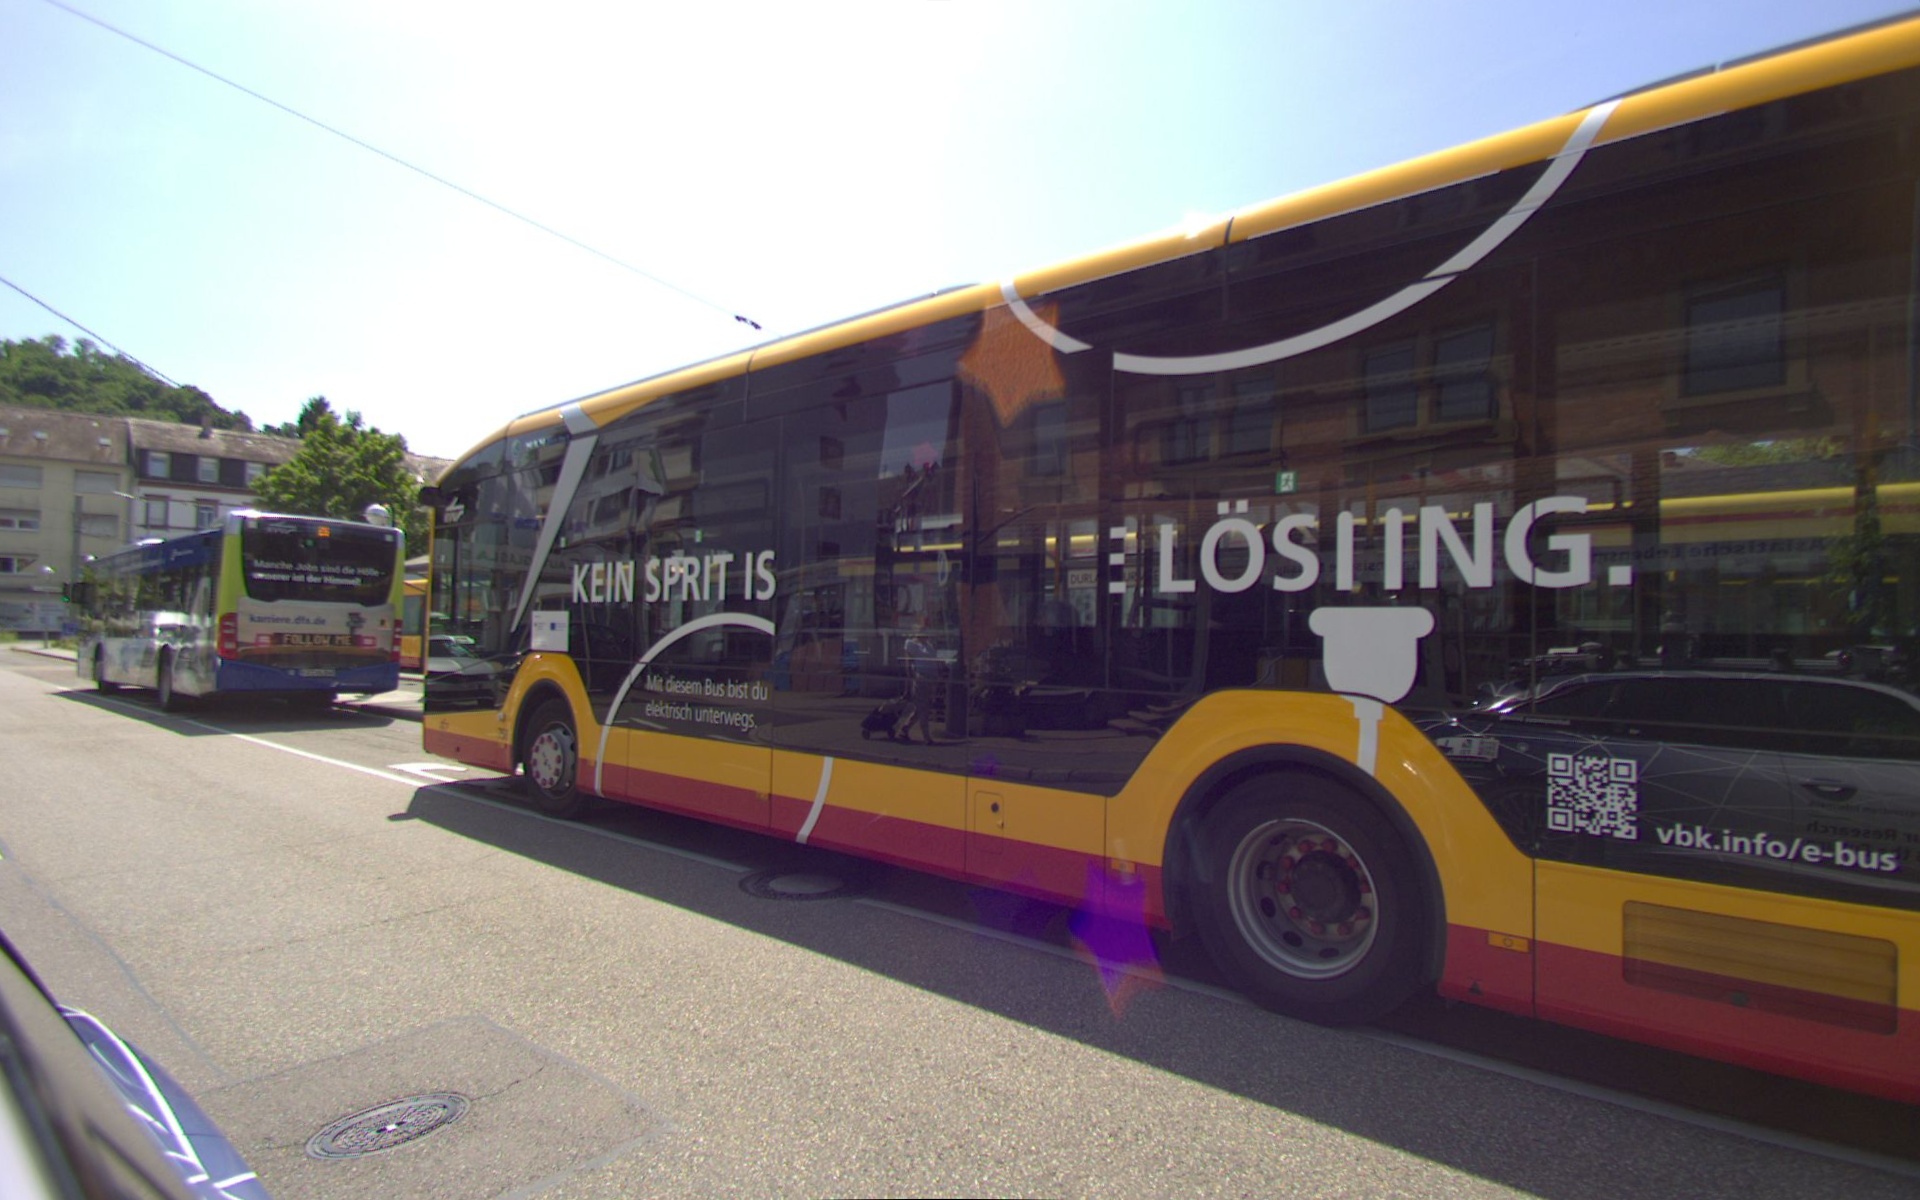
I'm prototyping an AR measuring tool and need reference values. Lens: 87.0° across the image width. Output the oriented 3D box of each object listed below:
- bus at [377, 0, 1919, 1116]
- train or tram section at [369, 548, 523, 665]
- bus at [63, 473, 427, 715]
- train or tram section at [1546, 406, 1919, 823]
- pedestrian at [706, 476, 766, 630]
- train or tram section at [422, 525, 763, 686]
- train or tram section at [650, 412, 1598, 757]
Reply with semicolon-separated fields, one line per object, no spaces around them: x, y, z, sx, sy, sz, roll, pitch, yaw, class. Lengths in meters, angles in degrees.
0.086;-0.392;6.428;12.192;3.272;2.867;0;0;42;bus
-16.733;0.288;32.918;4.415;3.522;2.932;-1;-3;41;train or tram section
-14.256;0.071;19.448;12.031;3.453;2.878;-2;-1;41;bus
12.498;0.080;7.329;13.986;3.670;2.932;-1;-1;41;train or tram section
-2.693;-0.548;12.199;0.566;1.790;0.783;0;0;-1;pedestrian
-10.455;0.193;27.376;12.650;3.521;2.932;-1;-1;41;train or tram section
0.690;-0.070;17.591;17.342;3.670;2.932;-1;-1;41;train or tram section
